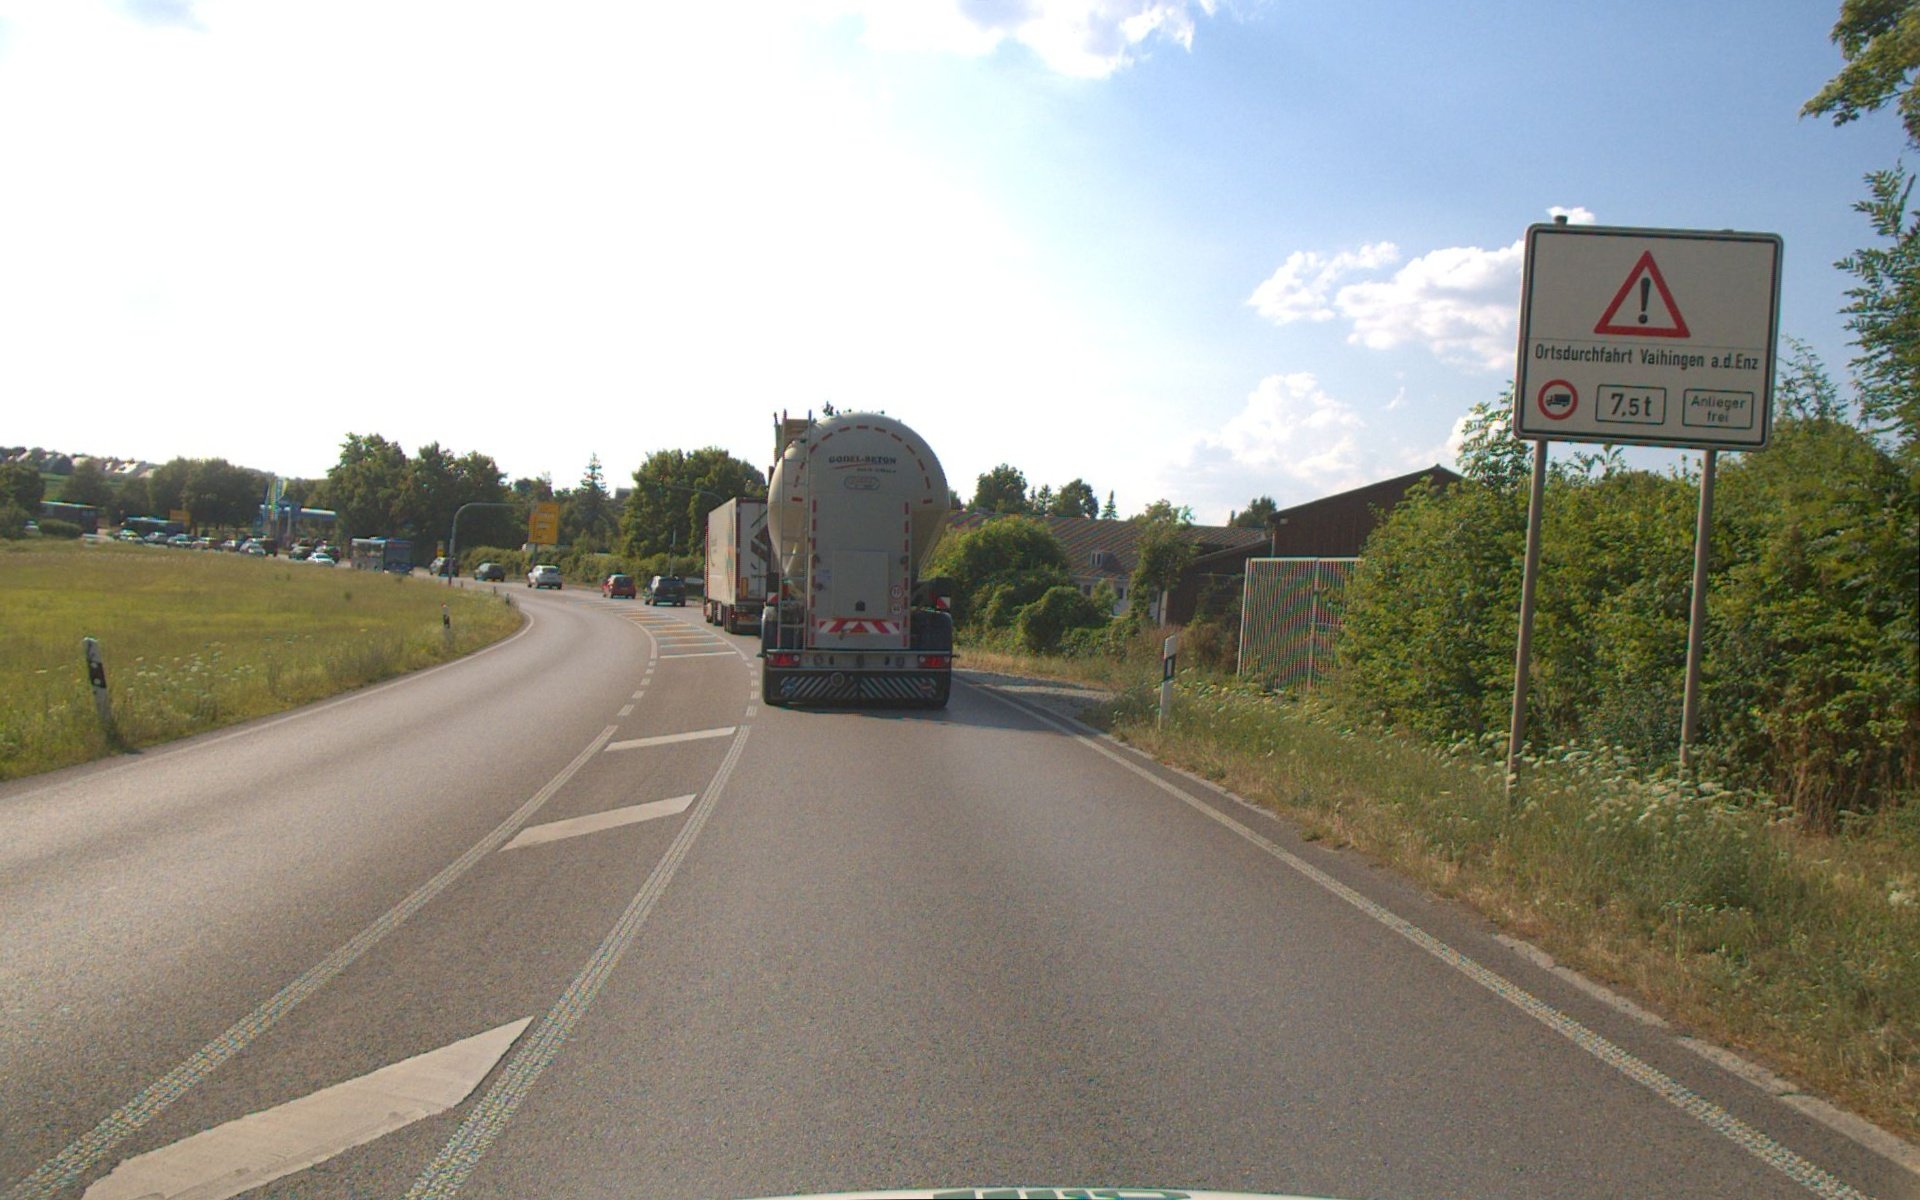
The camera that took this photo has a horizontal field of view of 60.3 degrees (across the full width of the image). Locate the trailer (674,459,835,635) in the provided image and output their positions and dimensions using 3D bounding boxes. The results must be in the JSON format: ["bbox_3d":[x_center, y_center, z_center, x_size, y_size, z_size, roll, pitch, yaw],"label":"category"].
[{"bbox_3d":[-6.719,-1.509,52.486,2.919,4.967,10.231,2,-1,-19],"label":"trailer"}]

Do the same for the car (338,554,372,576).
[{"bbox_3d":[-49.859,-2.897,136.278,1.824,1.685,3.955,2,-1,-32],"label":"car"}]

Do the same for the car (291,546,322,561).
[{"bbox_3d":[-73.884,-5.255,186.952,2.073,1.627,3.941,2,1,-41],"label":"car"}]

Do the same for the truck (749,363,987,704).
[{"bbox_3d":[-1.794,-0.800,26.827,2.919,4.248,11.645,2,0,-6],"label":"truck"}]

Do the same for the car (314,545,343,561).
[{"bbox_3d":[-68.946,-5.085,180.518,2.067,1.627,3.953,2,1,-34],"label":"car"}]

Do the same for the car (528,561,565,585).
[{"bbox_3d":[-30.668,-1.967,122.561,1.819,1.685,3.965,2,-1,-27],"label":"car"}]

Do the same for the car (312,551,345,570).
[{"bbox_3d":[-61.040,-3.813,159.865,1.828,1.685,3.946,2,-1,-38],"label":"car"}]

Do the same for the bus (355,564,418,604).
[{"bbox_3d":[-48.724,-1.333,140.308,2.764,3.237,12.004,2,-1,-30],"label":"bus"}]

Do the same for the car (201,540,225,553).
[{"bbox_3d":[-93.843,-6.723,207.786,1.868,1.627,3.948,2,1,-37],"label":"car"}]

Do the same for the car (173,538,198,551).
[{"bbox_3d":[-99.184,-7.100,211.806,1.870,1.627,3.942,2,1,-40],"label":"car"}]

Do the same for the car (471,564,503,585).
[{"bbox_3d":[-39.812,-2.166,139.265,1.505,1.685,3.829,2,-1,-33],"label":"car"}]

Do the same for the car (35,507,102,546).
[{"bbox_3d":[-124.932,-10.377,231.587,12.996,5.147,3.534,3,1,40],"label":"car"}]

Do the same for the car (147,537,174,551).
[{"bbox_3d":[-104.970,-7.323,217.018,3.931,1.627,1.876,3,1,43],"label":"car"}]

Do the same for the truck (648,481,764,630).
[{"bbox_3d":[-9.216,-1.514,59.516,2.918,4.972,6.395,2,-1,-19],"label":"truck"}]

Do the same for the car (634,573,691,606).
[{"bbox_3d":[-16.083,-0.557,89.296,1.970,1.685,3.965,2,-1,-27],"label":"car"}]

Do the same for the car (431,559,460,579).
[{"bbox_3d":[-46.993,-2.816,150.951,1.506,1.685,3.828,2,-1,-33],"label":"car"}]

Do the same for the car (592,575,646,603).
[{"bbox_3d":[-21.705,-0.704,105.221,2.272,1.685,4.376,2,-1,-27],"label":"car"}]

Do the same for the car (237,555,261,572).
[{"bbox_3d":[-77.251,-3.939,179.736,1.824,1.685,3.955,2,-1,-32],"label":"car"}]
